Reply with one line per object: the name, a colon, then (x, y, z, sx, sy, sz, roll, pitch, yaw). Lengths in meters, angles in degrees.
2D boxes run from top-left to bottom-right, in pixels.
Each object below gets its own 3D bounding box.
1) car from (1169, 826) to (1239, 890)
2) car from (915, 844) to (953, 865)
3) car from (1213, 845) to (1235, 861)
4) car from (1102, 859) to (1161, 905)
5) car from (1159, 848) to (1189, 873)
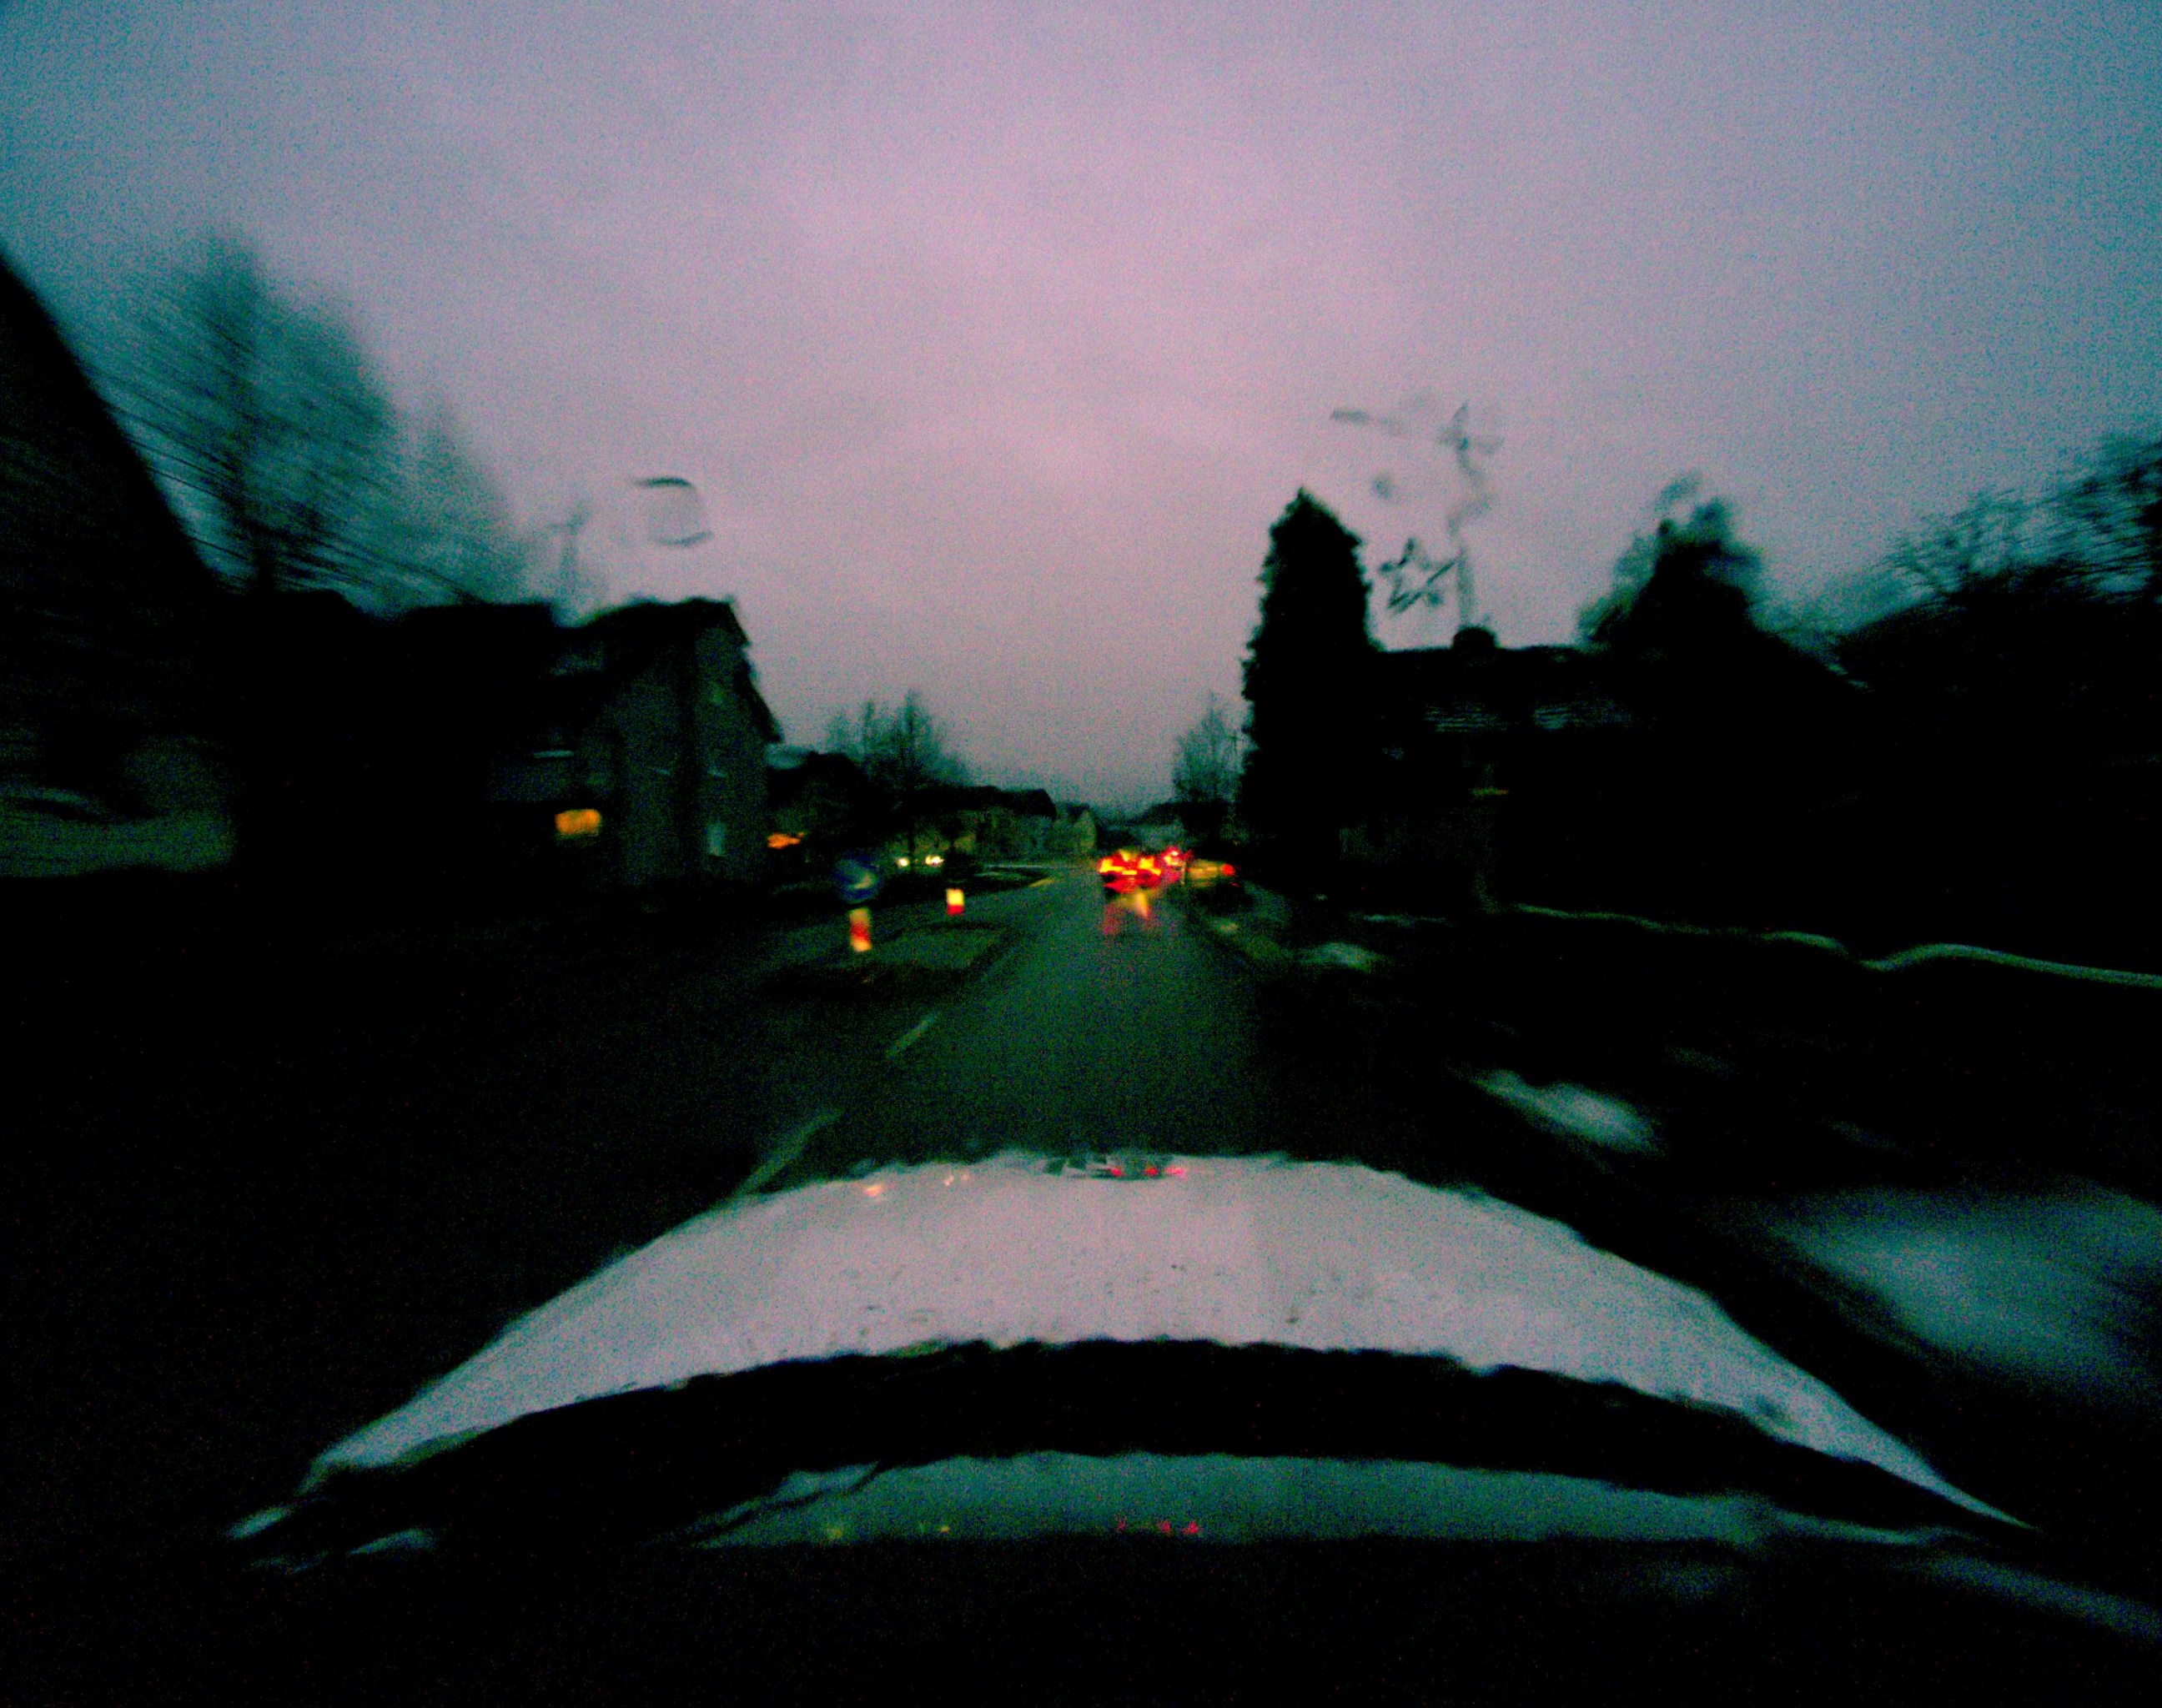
car: (4.330, 0.098, 29.514, 1.969, 2.013, 5.752, -3, 0, 4)
car: (-14.484, 0.024, 80.421, 1.977, 2.013, 4.020, 1, 1, 19)
car: (16.128, -0.124, 91.769, 1.978, 1.670, 4.019, 0, 0, 18)
car: (1.749, 0.954, 29.355, 1.986, 1.525, 4.001, 0, 0, 2)
car: (7.898, 0.545, 68.802, 1.979, 2.014, 4.016, 0, -1, 15)
